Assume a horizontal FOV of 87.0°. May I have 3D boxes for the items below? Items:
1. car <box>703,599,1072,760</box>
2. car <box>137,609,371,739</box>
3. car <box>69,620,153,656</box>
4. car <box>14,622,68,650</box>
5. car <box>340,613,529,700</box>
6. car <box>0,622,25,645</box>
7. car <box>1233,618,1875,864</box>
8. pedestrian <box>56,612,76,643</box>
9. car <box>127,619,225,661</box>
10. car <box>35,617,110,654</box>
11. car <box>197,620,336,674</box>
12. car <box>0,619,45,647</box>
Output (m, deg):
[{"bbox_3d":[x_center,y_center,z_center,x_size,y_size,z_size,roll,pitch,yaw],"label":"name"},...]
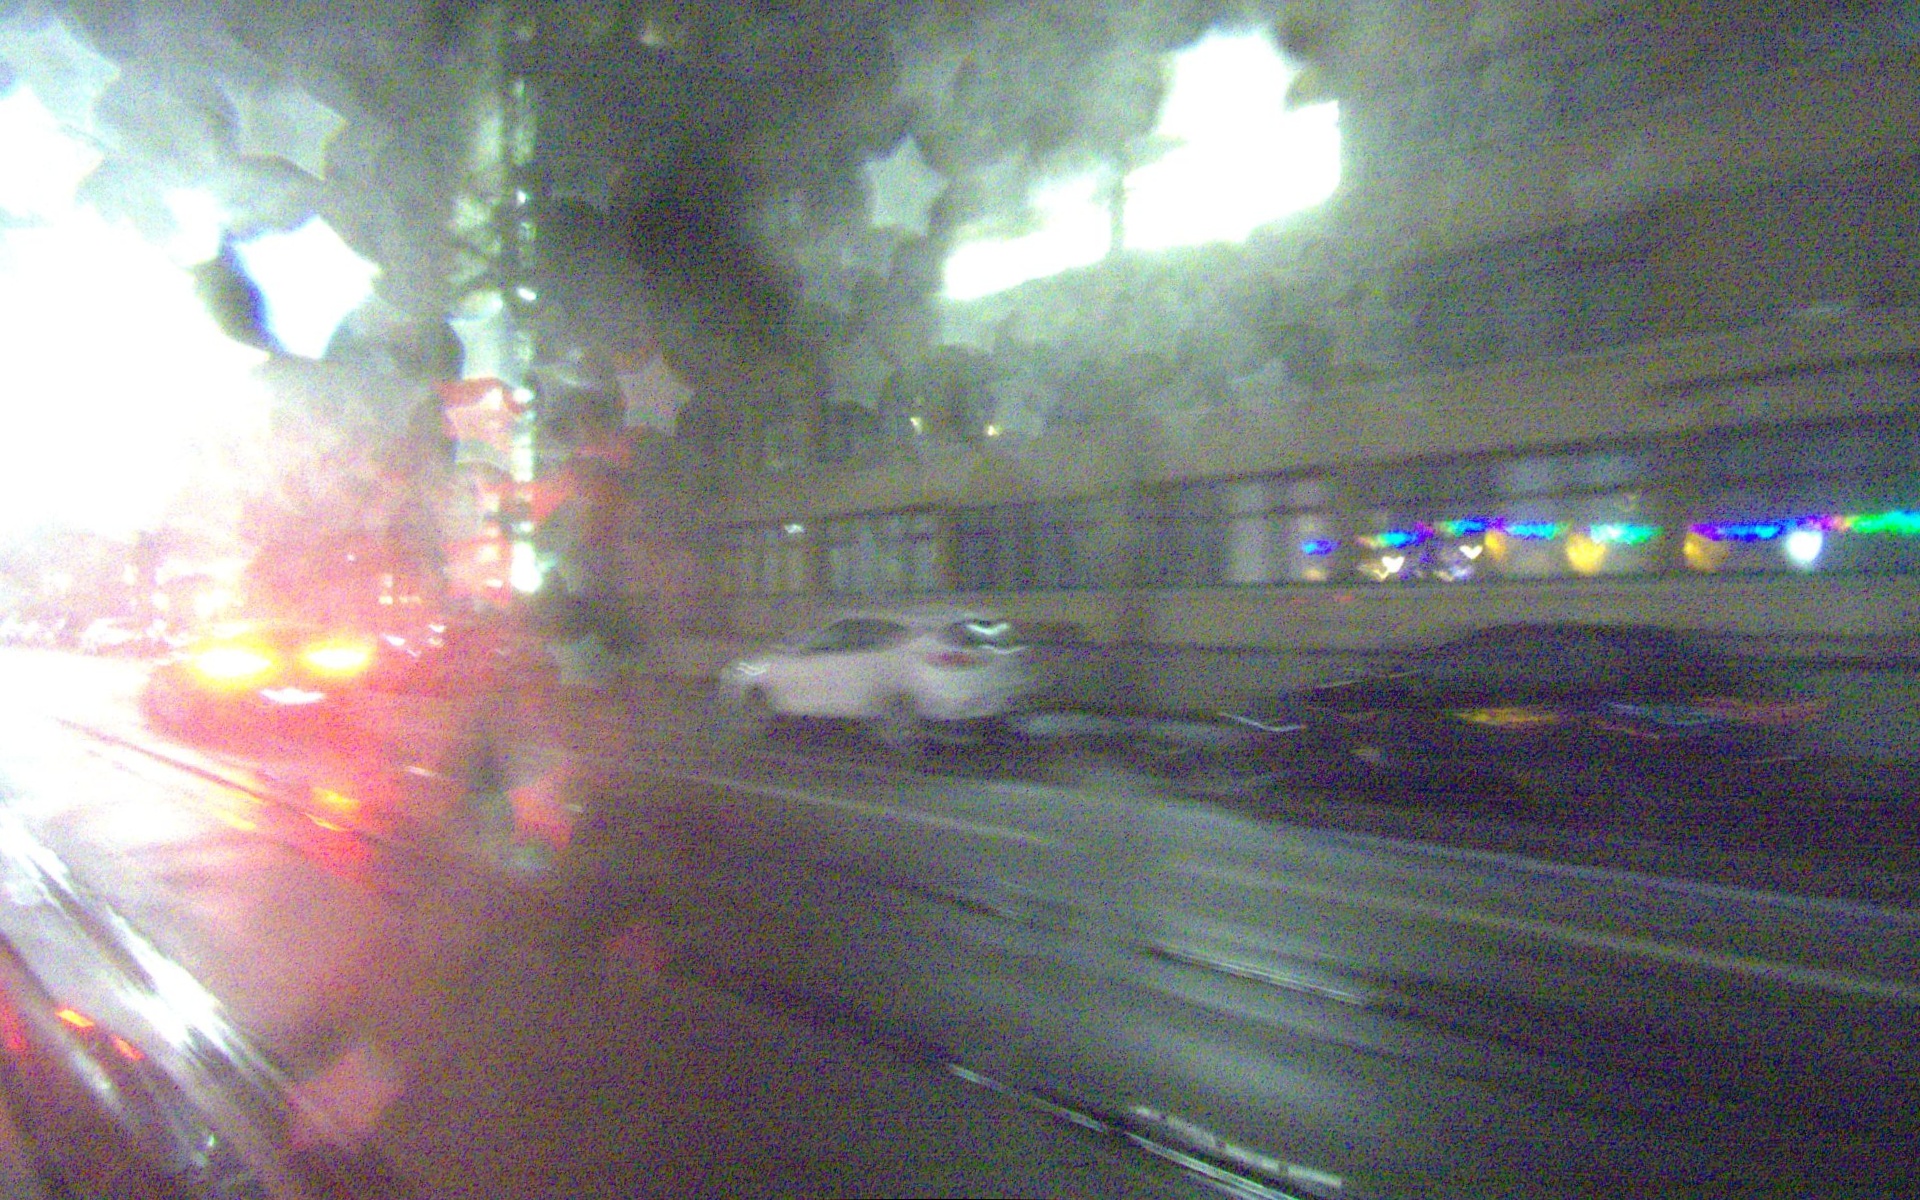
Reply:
[{"bbox_3d":[-1.033,0.826,12.524,4.514,1.643,1.963,-1,-1,41],"label":"car"},{"bbox_3d":[-9.872,0.922,14.035,4.049,1.529,1.757,-1,-1,41],"label":"car"},{"bbox_3d":[-35.650,1.554,42.449,4.601,1.451,1.756,-1,-1,38],"label":"car"},{"bbox_3d":[-50.855,1.953,56.000,4.624,1.449,1.713,-1,-1,41],"label":"car"},{"bbox_3d":[-11.192,1.109,21.447,4.393,1.556,1.863,-1,3,38],"label":"car"},{"bbox_3d":[-65.492,2.275,69.298,3.948,1.467,1.701,-1,-1,40],"label":"car"},{"bbox_3d":[4.298,0.874,7.792,3.909,1.432,1.674,-1,-2,38],"label":"car"},{"bbox_3d":[-56.225,1.712,63.643,1.290,1.916,0.784,-1,-1,41],"label":"pedestrian"},{"bbox_3d":[-28.356,1.394,36.575,4.203,1.434,1.822,-1,-1,38],"label":"car"},{"bbox_3d":[-44.001,1.724,50.158,4.586,1.631,2.122,0,2,41],"label":"car"},{"bbox_3d":[-20.478,1.319,29.796,4.951,1.474,1.870,-1,-1,37],"label":"car"},{"bbox_3d":[-58.977,2.068,63.464,4.351,1.590,1.791,-1,2,41],"label":"car"}]
